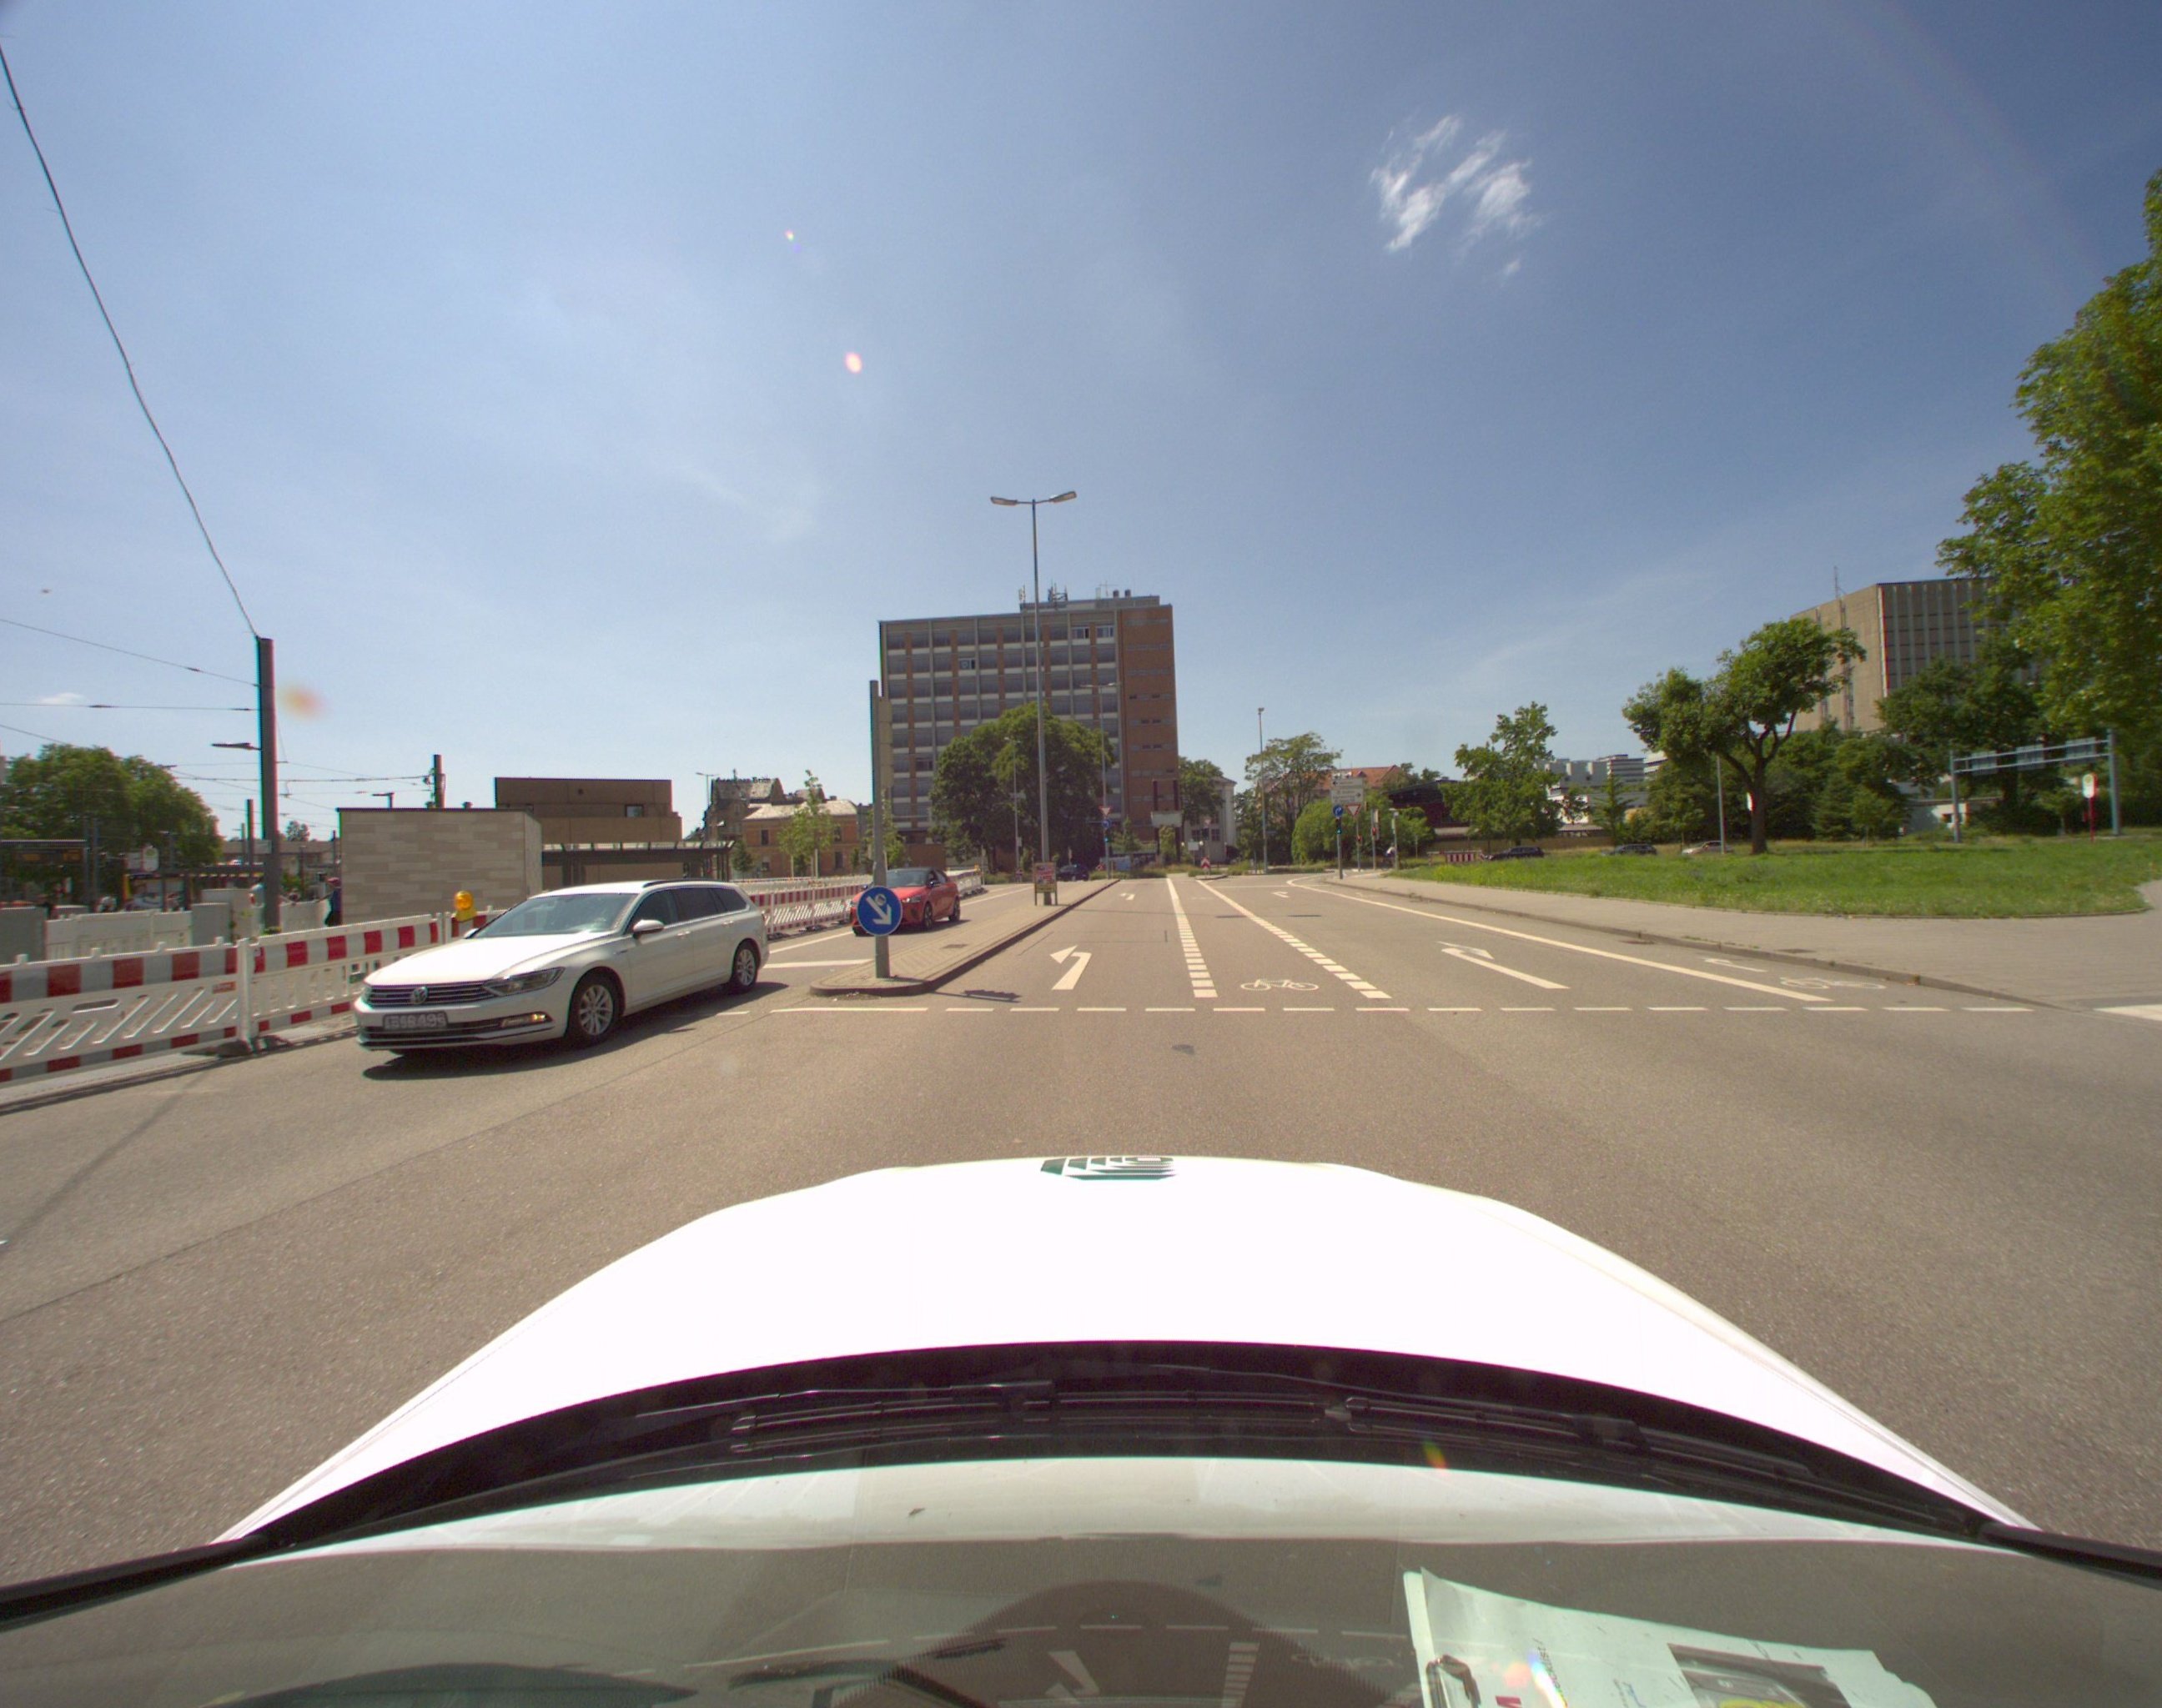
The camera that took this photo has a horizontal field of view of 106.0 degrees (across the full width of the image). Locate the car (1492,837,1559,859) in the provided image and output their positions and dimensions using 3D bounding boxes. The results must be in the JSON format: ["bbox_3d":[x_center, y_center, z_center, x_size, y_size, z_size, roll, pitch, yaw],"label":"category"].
[{"bbox_3d":[36.313,-0.465,66.637,4.511,1.586,1.714,-3,-1,11],"label":"car"}]

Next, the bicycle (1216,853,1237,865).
[{"bbox_3d":[25.181,0.849,140.843,3.428,2.014,0.762,0,-1,7],"label":"bicycle"}]

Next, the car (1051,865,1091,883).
[{"bbox_3d":[-0.904,1.720,71.059,1.626,1.552,3.731,0,-1,-38],"label":"car"}]

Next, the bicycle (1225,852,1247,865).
[{"bbox_3d":[25.708,0.750,135.185,3.428,2.014,0.762,0,-1,7],"label":"bicycle"}]

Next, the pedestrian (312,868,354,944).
[{"bbox_3d":[-19.455,1.334,21.186,0.695,1.905,0.571,0,-1,-31],"label":"pedestrian"}]

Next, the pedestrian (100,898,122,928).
[{"bbox_3d":[-45.464,2.758,38.165,0.511,1.366,0.519,0,-1,-32],"label":"pedestrian"}]

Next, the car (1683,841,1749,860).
[{"bbox_3d":[51.677,-0.263,66.310,3.968,1.439,1.762,0,-1,4],"label":"car"}]

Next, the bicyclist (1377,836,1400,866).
[{"bbox_3d":[19.193,-0.184,50.844,1.132,1.887,0.708,0,-1,-3],"label":"bicyclist"}]

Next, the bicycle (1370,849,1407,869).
[{"bbox_3d":[19.233,0.317,50.953,2.179,1.237,0.520,0,-1,-3],"label":"bicycle"}]

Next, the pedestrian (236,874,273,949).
[{"bbox_3d":[-19.865,1.369,19.589,0.543,1.756,0.652,0,-1,-39],"label":"pedestrian"}]

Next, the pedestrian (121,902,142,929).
[{"bbox_3d":[-50.789,3.299,43.576,0.441,1.397,0.558,0,-1,-2],"label":"pedestrian"}]

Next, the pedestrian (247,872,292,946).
[{"bbox_3d":[-20.340,1.360,20.421,0.647,1.789,0.631,0,-1,-30],"label":"pedestrian"}]

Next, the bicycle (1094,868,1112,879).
[{"bbox_3d":[2.255,1.952,82.863,2.008,1.045,0.552,-3,1,-43],"label":"bicycle"}]

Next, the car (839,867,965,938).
[{"bbox_3d":[-4.108,1.061,19.374,1.680,1.378,4.019,-4,-1,6],"label":"car"}]

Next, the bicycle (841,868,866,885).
[{"bbox_3d":[-17.575,1.735,62.972,1.875,1.180,0.527,-4,-2,22],"label":"bicycle"}]

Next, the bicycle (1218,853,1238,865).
[{"bbox_3d":[24.939,0.816,138.193,3.428,2.014,0.762,0,-1,7],"label":"bicycle"}]

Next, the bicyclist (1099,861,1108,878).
[{"bbox_3d":[2.292,1.609,82.934,0.707,1.715,0.545,-2,0,-44],"label":"bicyclist"}]

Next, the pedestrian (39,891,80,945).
[{"bbox_3d":[-36.524,2.275,29.115,0.617,1.858,0.643,-2,-1,-2],"label":"pedestrian"}]

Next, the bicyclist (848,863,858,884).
[{"bbox_3d":[-17.654,1.538,63.034,0.492,1.580,0.534,-4,-2,22],"label":"bicyclist"}]

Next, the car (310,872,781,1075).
[{"bbox_3d":[-5.096,1.003,8.701,1.808,1.428,4.431,-4,0,4],"label":"car"}]
